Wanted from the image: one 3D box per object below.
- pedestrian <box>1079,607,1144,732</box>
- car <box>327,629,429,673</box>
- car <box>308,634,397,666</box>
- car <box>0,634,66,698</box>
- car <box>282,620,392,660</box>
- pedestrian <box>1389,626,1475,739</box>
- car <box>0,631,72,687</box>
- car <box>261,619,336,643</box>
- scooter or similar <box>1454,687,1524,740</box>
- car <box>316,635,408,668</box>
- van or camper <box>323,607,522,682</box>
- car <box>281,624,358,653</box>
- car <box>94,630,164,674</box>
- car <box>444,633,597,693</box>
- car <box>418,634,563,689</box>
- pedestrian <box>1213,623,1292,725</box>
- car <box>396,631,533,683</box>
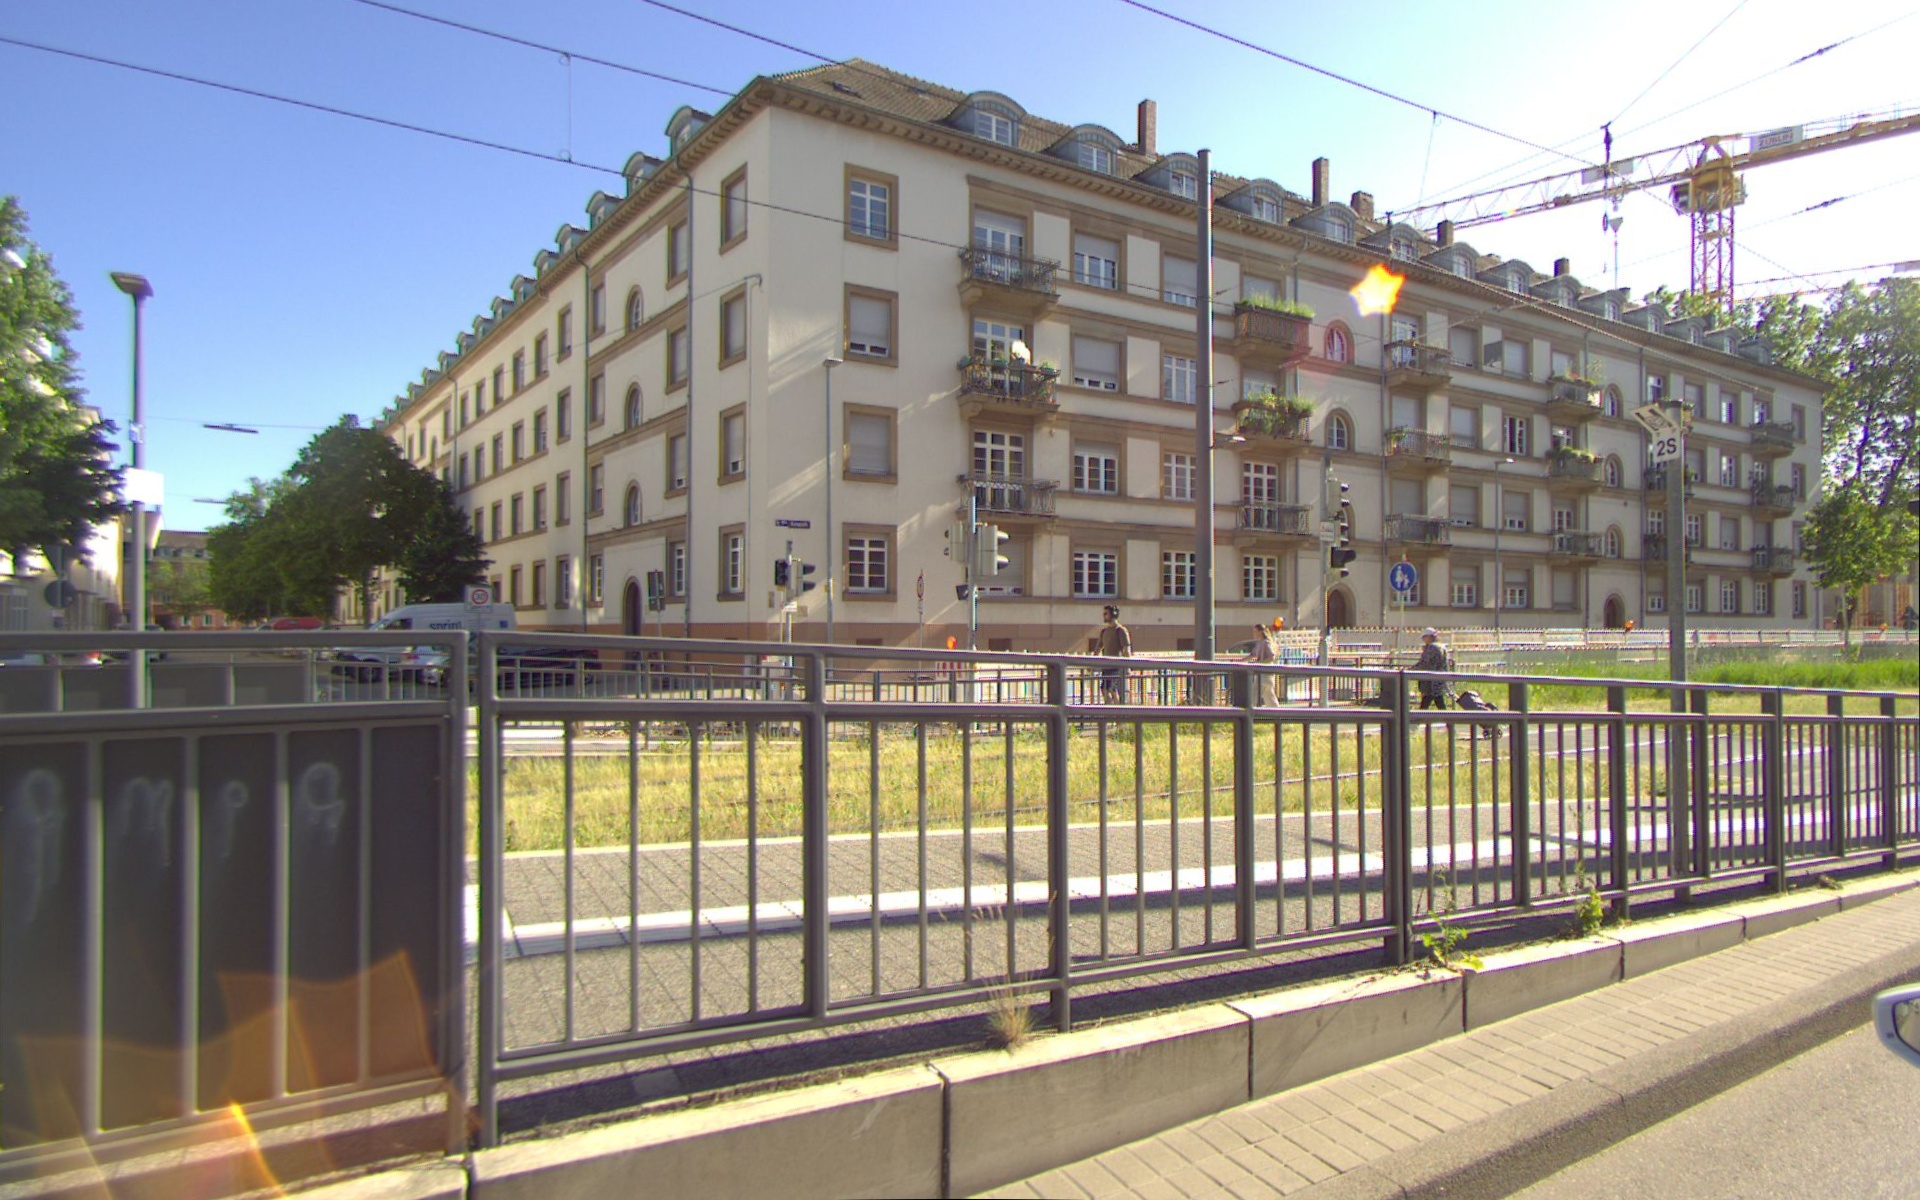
[{"bbox_3d":[2.257,1.013,15.101,0.850,1.804,0.909,1,0,2],"label":"pedestrian"},{"bbox_3d":[-27.051,2.328,46.757,3.911,1.953,1.672,1,-2,-40],"label":"car"},{"bbox_3d":[-30.517,2.469,50.482,3.635,1.521,1.672,1,-2,-40],"label":"car"},{"bbox_3d":[-23.718,1.552,23.601,3.973,1.470,1.762,2,-2,-44],"label":"car"},{"bbox_3d":[-33.508,2.129,54.126,4.832,2.034,1.920,1,-2,-39],"label":"car"},{"bbox_3d":[6.813,1.160,14.507,0.788,1.557,0.809,1,0,-28],"label":"pedestrian"},{"bbox_3d":[-26.548,1.573,26.960,3.973,1.470,1.762,2,-2,-44],"label":"car"},{"bbox_3d":[-49.936,2.323,75.854,4.533,1.754,2.024,1,-2,-39],"label":"car"},{"bbox_3d":[7.409,1.583,14.069,0.509,0.660,0.704,1,-1,-28],"label":"scooter or similar"},{"bbox_3d":[-29.003,2.491,48.745,3.635,1.521,1.672,1,-2,-40],"label":"car"},{"bbox_3d":[-18.855,1.535,35.484,5.911,2.432,1.976,2,-2,-42],"label":"van or camper"},{"bbox_3d":[-37.668,2.267,59.125,3.635,1.658,1.672,1,-2,-40],"label":"car"},{"bbox_3d":[-33.621,2.053,40.605,1.942,1.684,3.950,1,-2,-43],"label":"car"},{"bbox_3d":[-12.258,1.712,28.107,3.643,1.542,1.672,1,-2,-40],"label":"car"},{"bbox_3d":[-14.049,1.801,30.143,3.643,1.542,1.672,1,-2,-40],"label":"car"},{"bbox_3d":[4.709,1.160,16.161,0.902,1.557,0.858,1,-1,-40],"label":"pedestrian"},{"bbox_3d":[-15.767,1.775,32.043,3.635,1.542,1.672,1,-2,-40],"label":"car"}]
